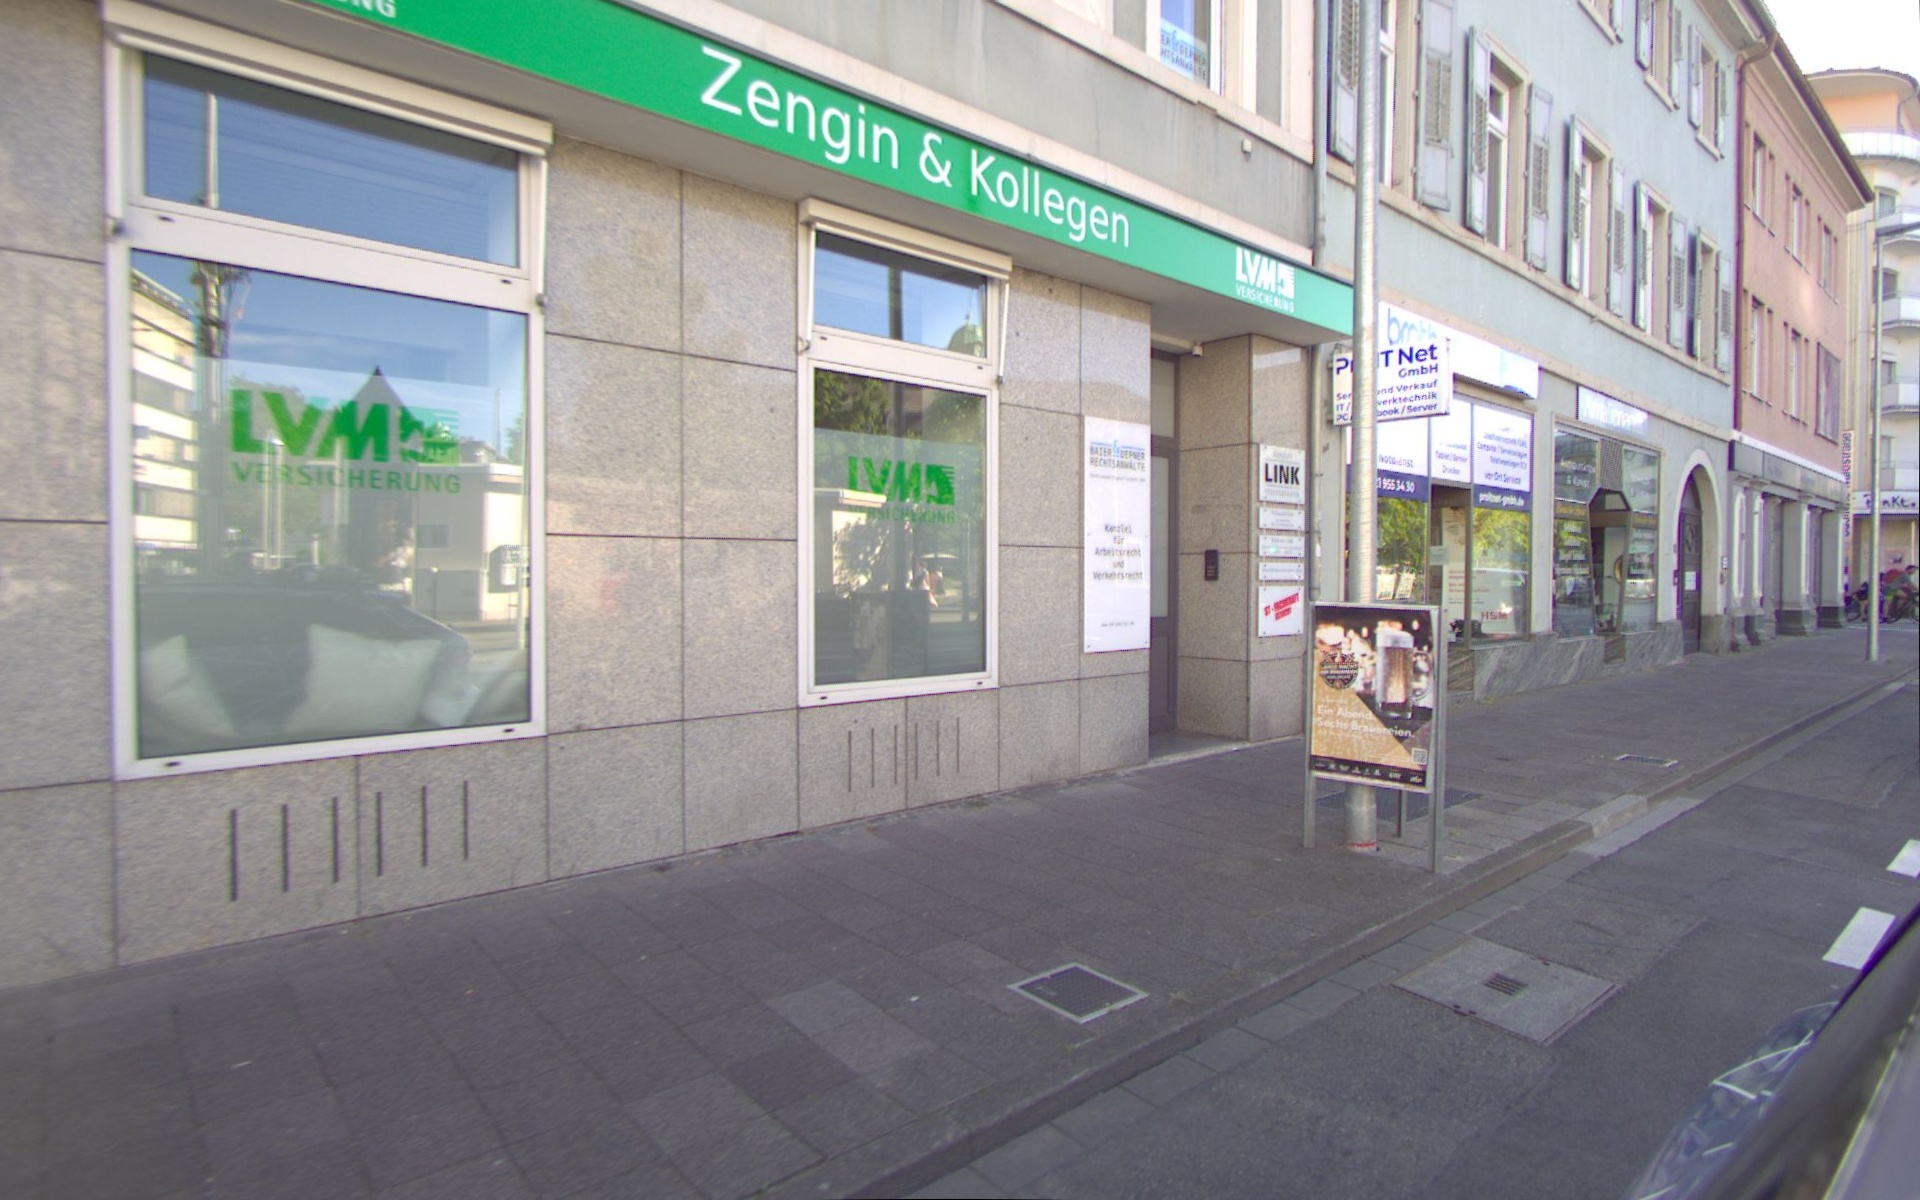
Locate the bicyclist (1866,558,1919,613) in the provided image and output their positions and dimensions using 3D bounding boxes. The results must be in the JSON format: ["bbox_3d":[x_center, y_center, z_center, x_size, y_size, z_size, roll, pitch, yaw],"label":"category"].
[{"bbox_3d":[27.546,-0.434,29.825,0.711,1.603,1.033,0,1,-18],"label":"bicyclist"}]

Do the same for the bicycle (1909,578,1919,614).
[{"bbox_3d":[28.269,-0.091,28.753,0.548,1.032,1.920,0,1,-13],"label":"bicycle"}]

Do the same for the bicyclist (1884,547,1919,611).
[{"bbox_3d":[27.147,-0.601,28.769,1.131,1.783,0.746,0,1,28],"label":"bicyclist"}]

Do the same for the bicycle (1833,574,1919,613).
[{"bbox_3d":[27.385,-0.208,30.194,0.718,1.110,1.924,0,1,-19],"label":"bicycle"}]

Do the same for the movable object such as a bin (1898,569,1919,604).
[{"bbox_3d":[31.074,-0.440,32.886,0.610,1.126,0.809,-1,1,-42],"label":"movable object such as a bin"}]

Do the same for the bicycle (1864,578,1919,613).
[{"bbox_3d":[27.027,-0.135,28.830,1.805,1.006,0.559,1,1,29],"label":"bicycle"}]
